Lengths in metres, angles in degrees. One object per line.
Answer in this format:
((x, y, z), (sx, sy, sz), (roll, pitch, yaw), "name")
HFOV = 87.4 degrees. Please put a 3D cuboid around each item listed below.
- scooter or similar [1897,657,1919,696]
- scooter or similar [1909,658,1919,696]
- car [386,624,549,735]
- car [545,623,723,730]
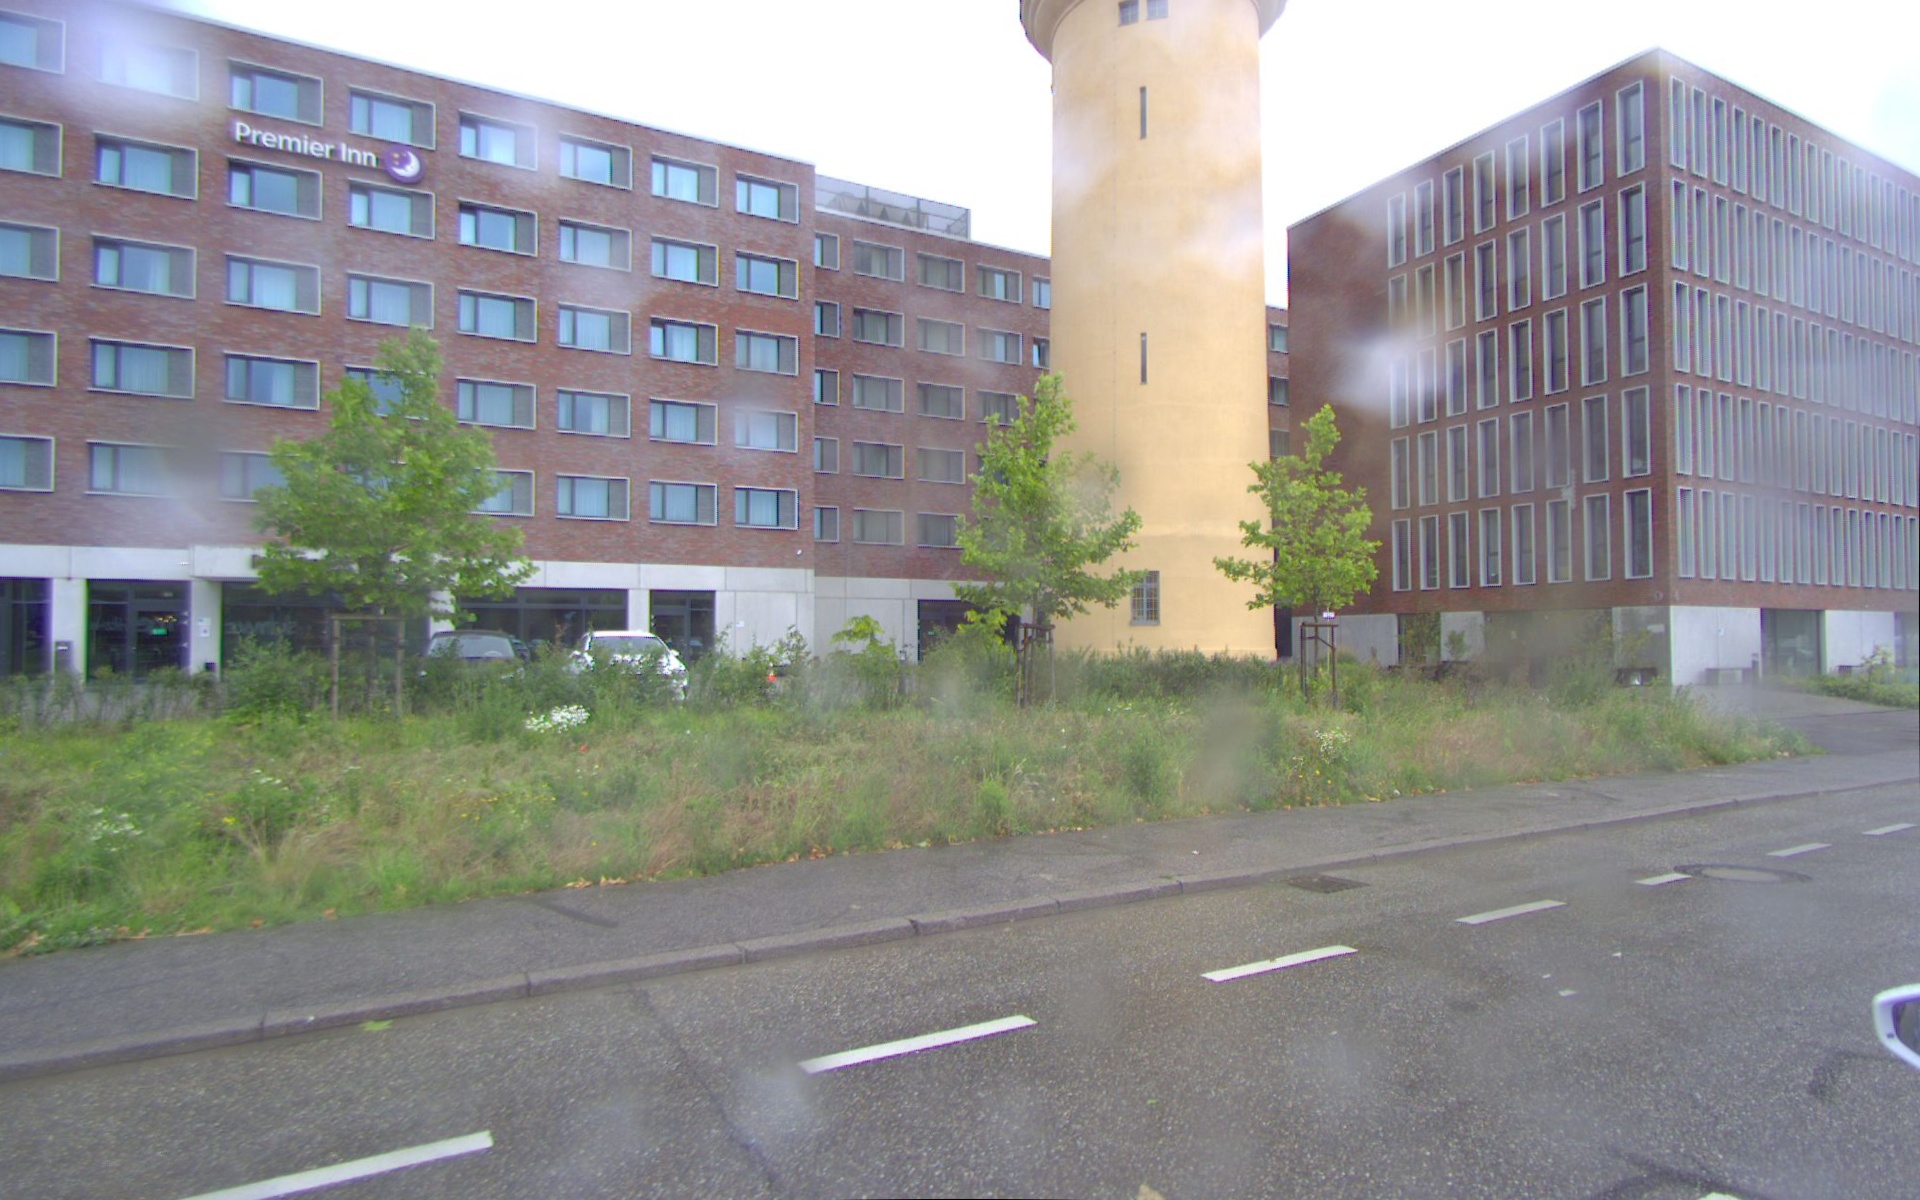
((30.418, 2.404, 31.565), (0.461, 1.193, 1.313), (1, -3, -24), "scooter or similar")
((30.174, 2.375, 30.899), (0.461, 1.193, 1.313), (1, -3, -24), "scooter or similar")
((-8.413, 1.262, 16.945), (1.978, 1.600, 4.497), (2, -3, -32), "car")
((-5.972, 1.309, 18.038), (1.978, 1.662, 4.497), (2, -3, -32), "car")
